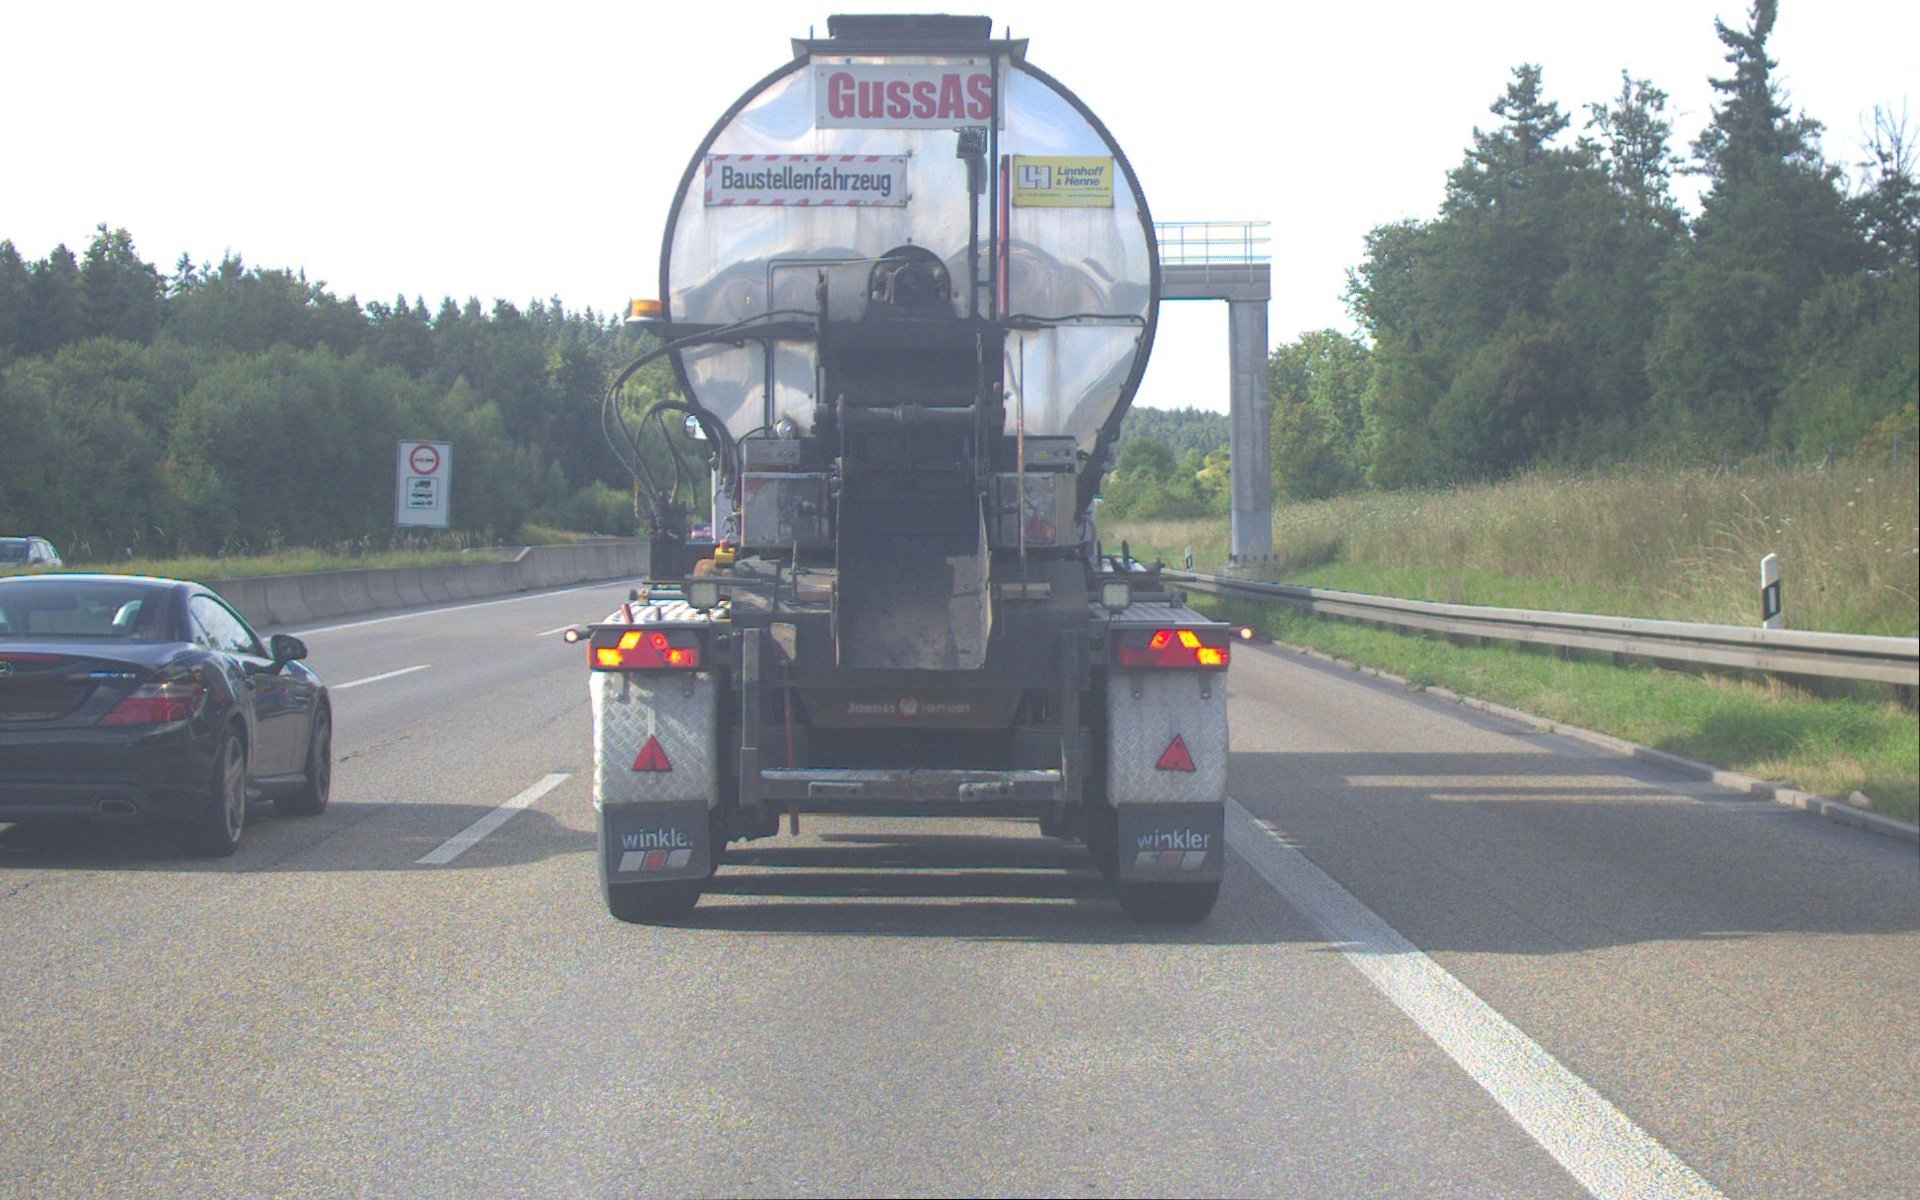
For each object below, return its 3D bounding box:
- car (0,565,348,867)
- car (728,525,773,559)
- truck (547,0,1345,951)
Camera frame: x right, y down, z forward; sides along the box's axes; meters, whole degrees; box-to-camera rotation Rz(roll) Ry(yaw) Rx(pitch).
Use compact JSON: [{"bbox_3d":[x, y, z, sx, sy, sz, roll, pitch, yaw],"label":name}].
[{"bbox_3d":[-4.300,0.490,17.250,1.744,1.279,4.199,0,1,-1],"label":"car"},{"bbox_3d":[-9.535,-2.665,156.813,1.835,1.512,4.333,0,1,-1],"label":"car"},{"bbox_3d":[-0.109,-0.900,18.254,2.912,4.143,11.270,0,1,-1],"label":"truck"}]
